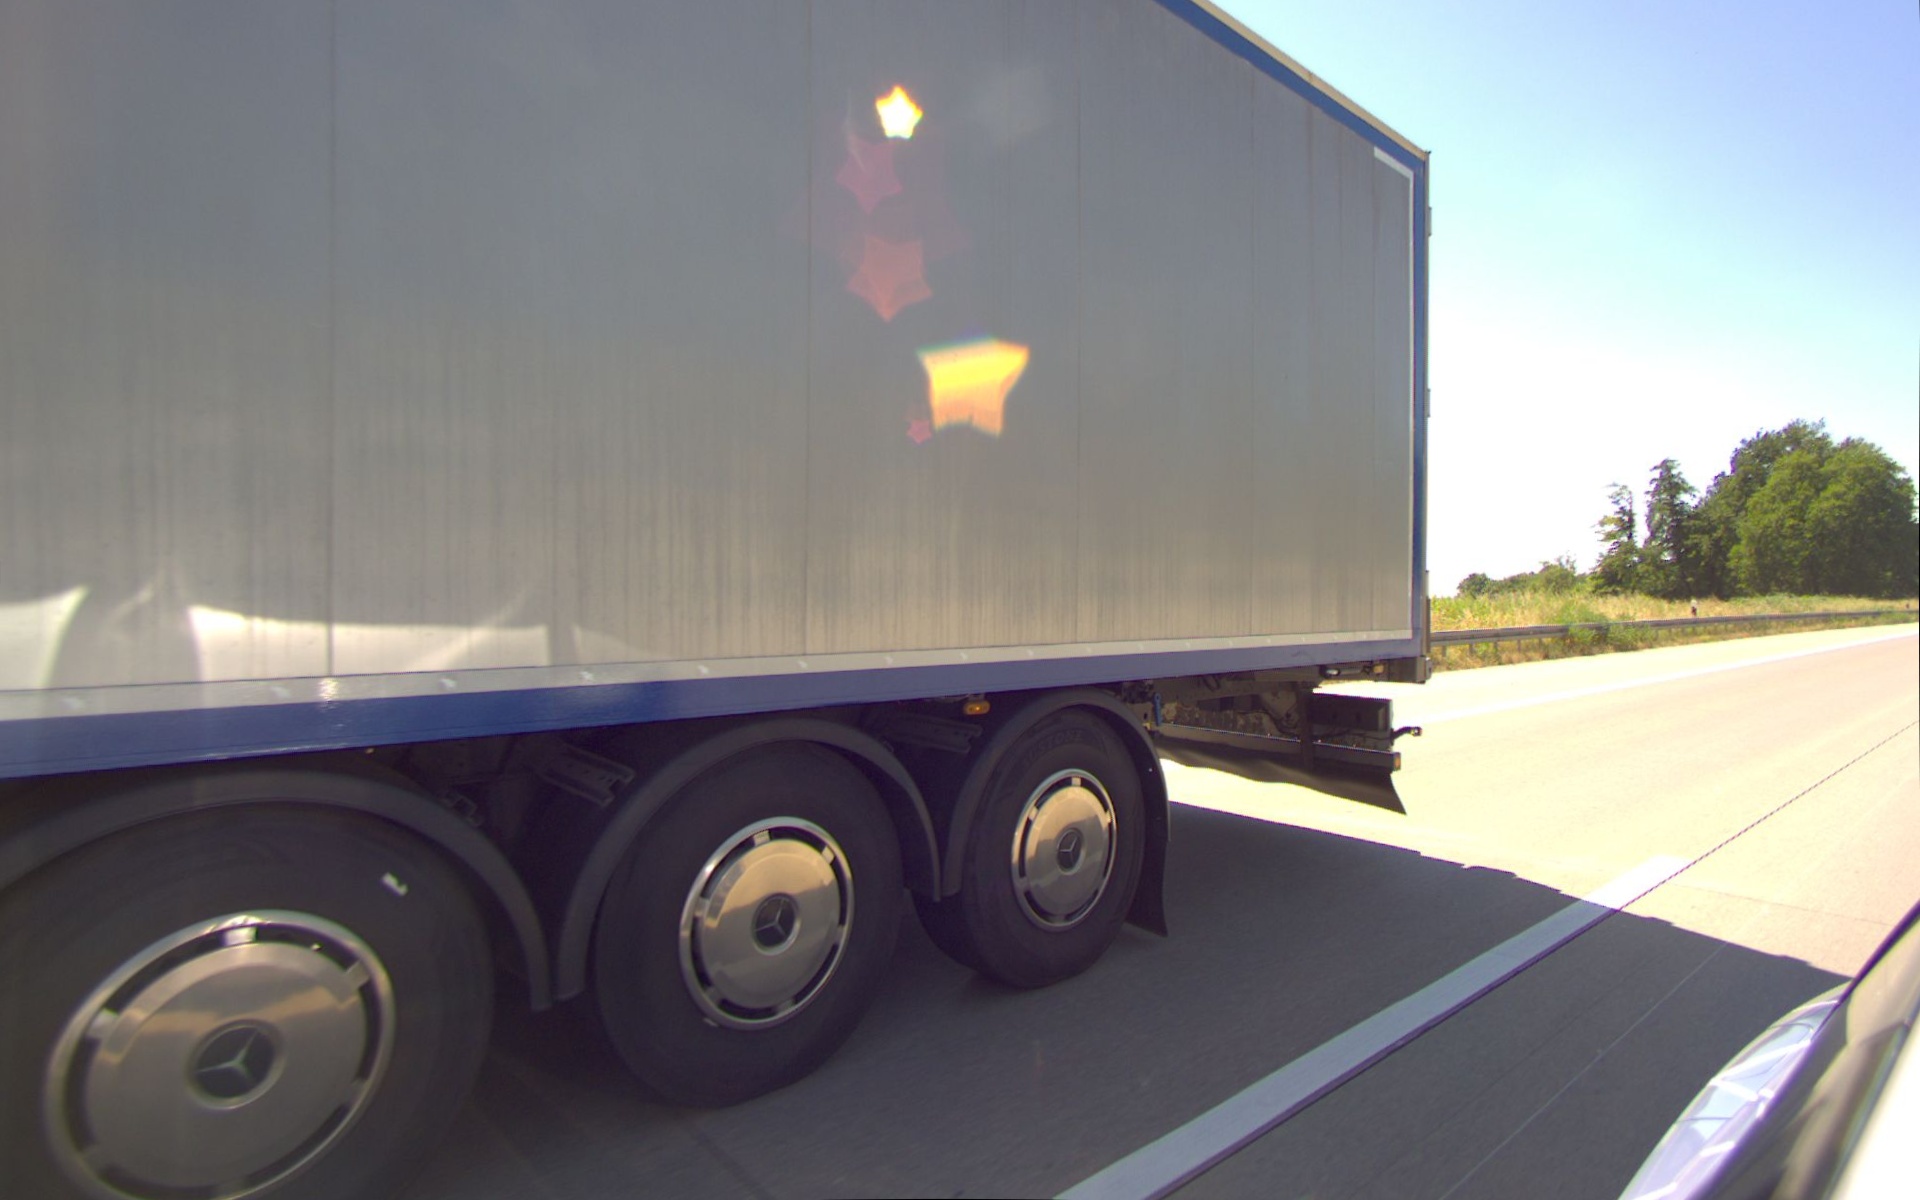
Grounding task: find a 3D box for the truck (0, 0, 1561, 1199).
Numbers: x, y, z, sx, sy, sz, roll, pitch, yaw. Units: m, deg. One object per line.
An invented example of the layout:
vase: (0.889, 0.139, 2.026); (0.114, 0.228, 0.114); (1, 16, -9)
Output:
truck: (-4.820, -1.496, 0.784); (17.929, 5.863, 3.582); (0, -3, -41)
